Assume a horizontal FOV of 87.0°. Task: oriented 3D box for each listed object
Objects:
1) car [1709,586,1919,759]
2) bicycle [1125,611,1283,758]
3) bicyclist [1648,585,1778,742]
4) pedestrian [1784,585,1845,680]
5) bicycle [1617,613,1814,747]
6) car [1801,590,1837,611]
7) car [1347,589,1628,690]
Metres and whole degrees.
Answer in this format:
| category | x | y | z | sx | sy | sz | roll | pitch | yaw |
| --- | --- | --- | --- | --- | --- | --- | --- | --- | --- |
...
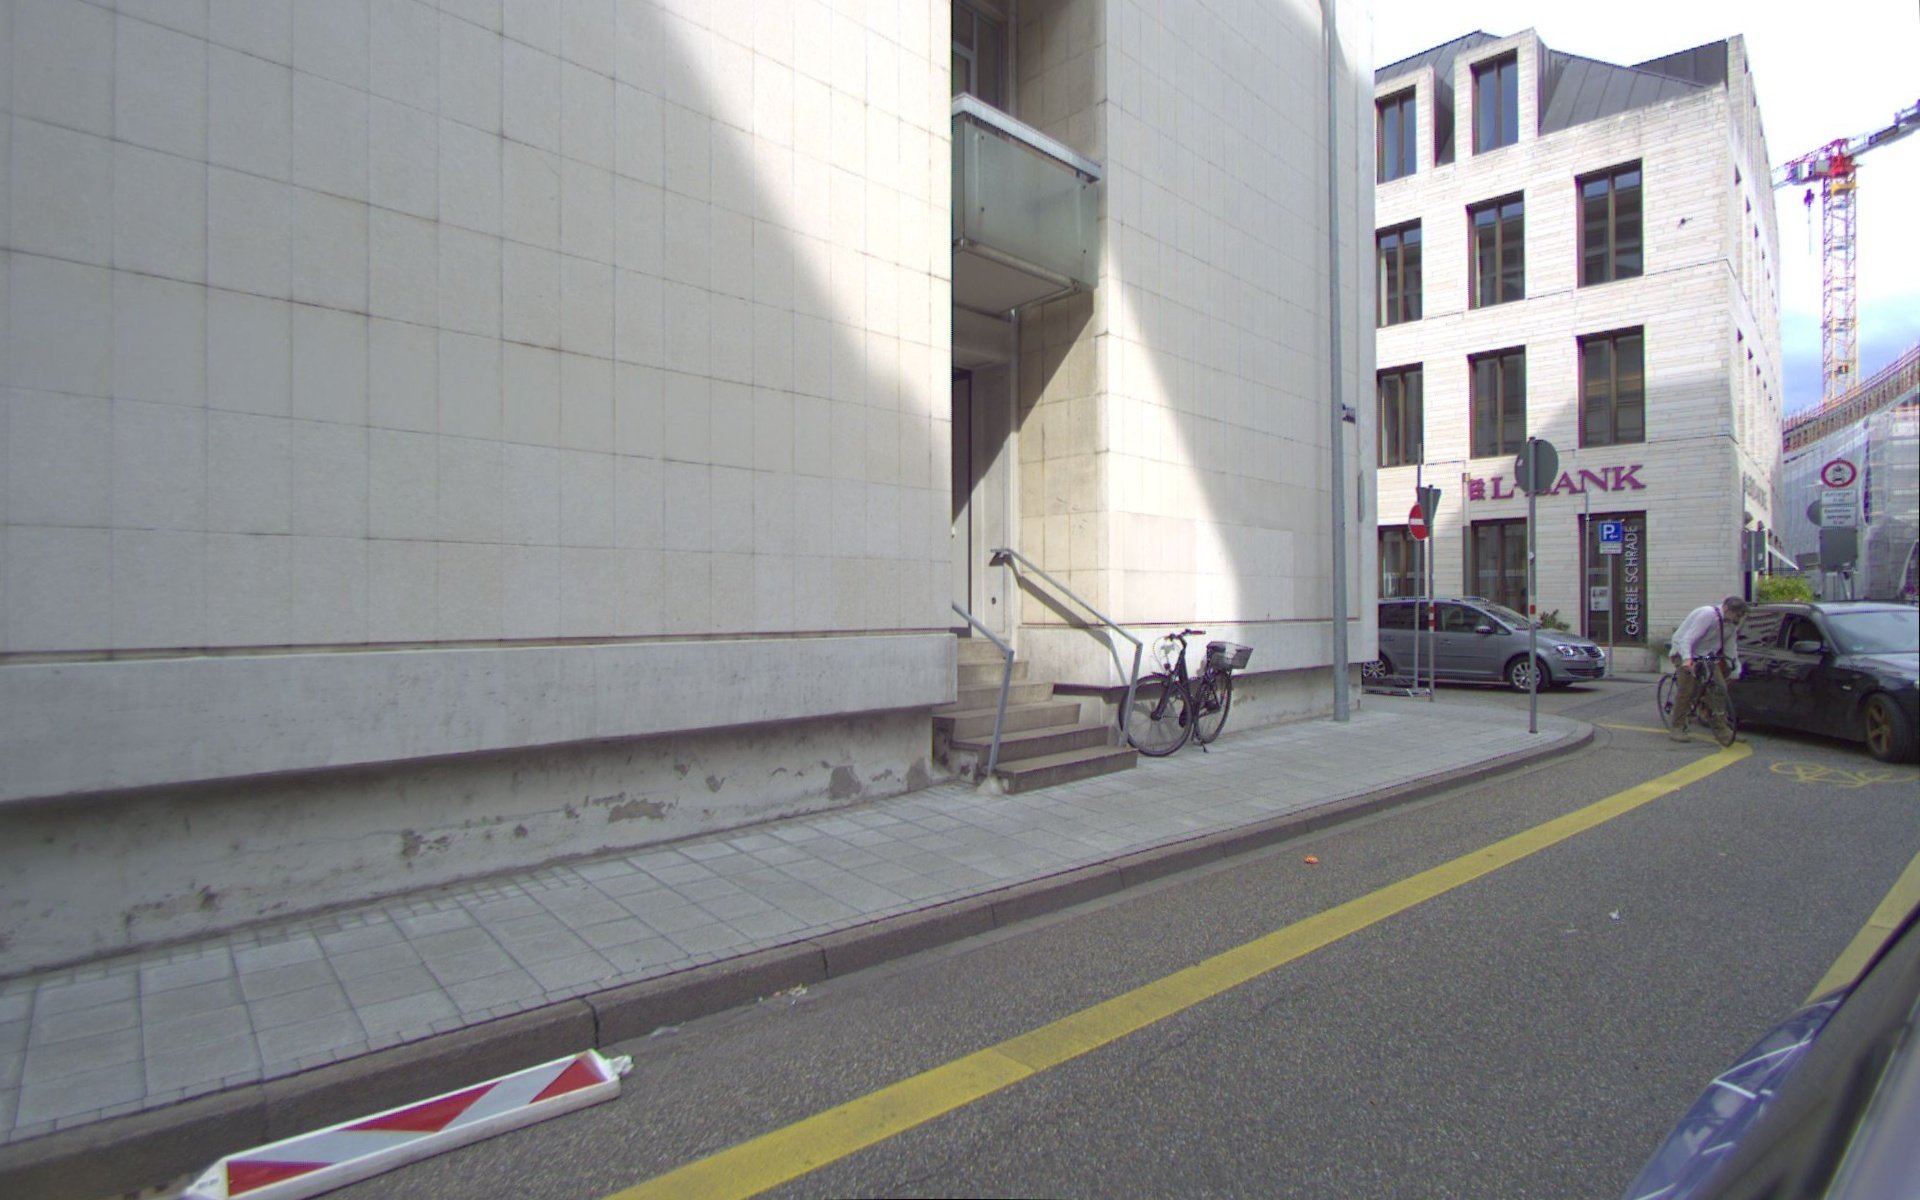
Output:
| category | x | y | z | sx | sy | sz | roll | pitch | yaw |
| --- | --- | --- | --- | --- | --- | --- | --- | --- | --- |
| car | 9.436 | 0.617 | 10.034 | 1.690 | 1.509 | 3.754 | -1 | 0 | 10 |
| bicycle | 2.277 | 0.715 | 9.294 | 0.588 | 1.182 | 1.786 | 0 | 0 | 44 |
| bicyclist | 8.107 | 0.647 | 10.944 | 0.881 | 1.614 | 0.872 | 0 | 0 | 19 |
| pedestrian | 17.045 | 0.626 | 20.207 | 0.767 | 1.854 | 0.853 | 0 | 0 | 29 |
| bicycle | 8.184 | 0.779 | 11.154 | 0.860 | 1.209 | 2.847 | 0 | 0 | 18 |
| car | 64.260 | 0.023 | 75.713 | 1.578 | 1.505 | 3.952 | 0 | 0 | 33 |
| car | 9.434 | 0.610 | 18.358 | 1.784 | 1.610 | 4.187 | -1 | 1 | -42 |
